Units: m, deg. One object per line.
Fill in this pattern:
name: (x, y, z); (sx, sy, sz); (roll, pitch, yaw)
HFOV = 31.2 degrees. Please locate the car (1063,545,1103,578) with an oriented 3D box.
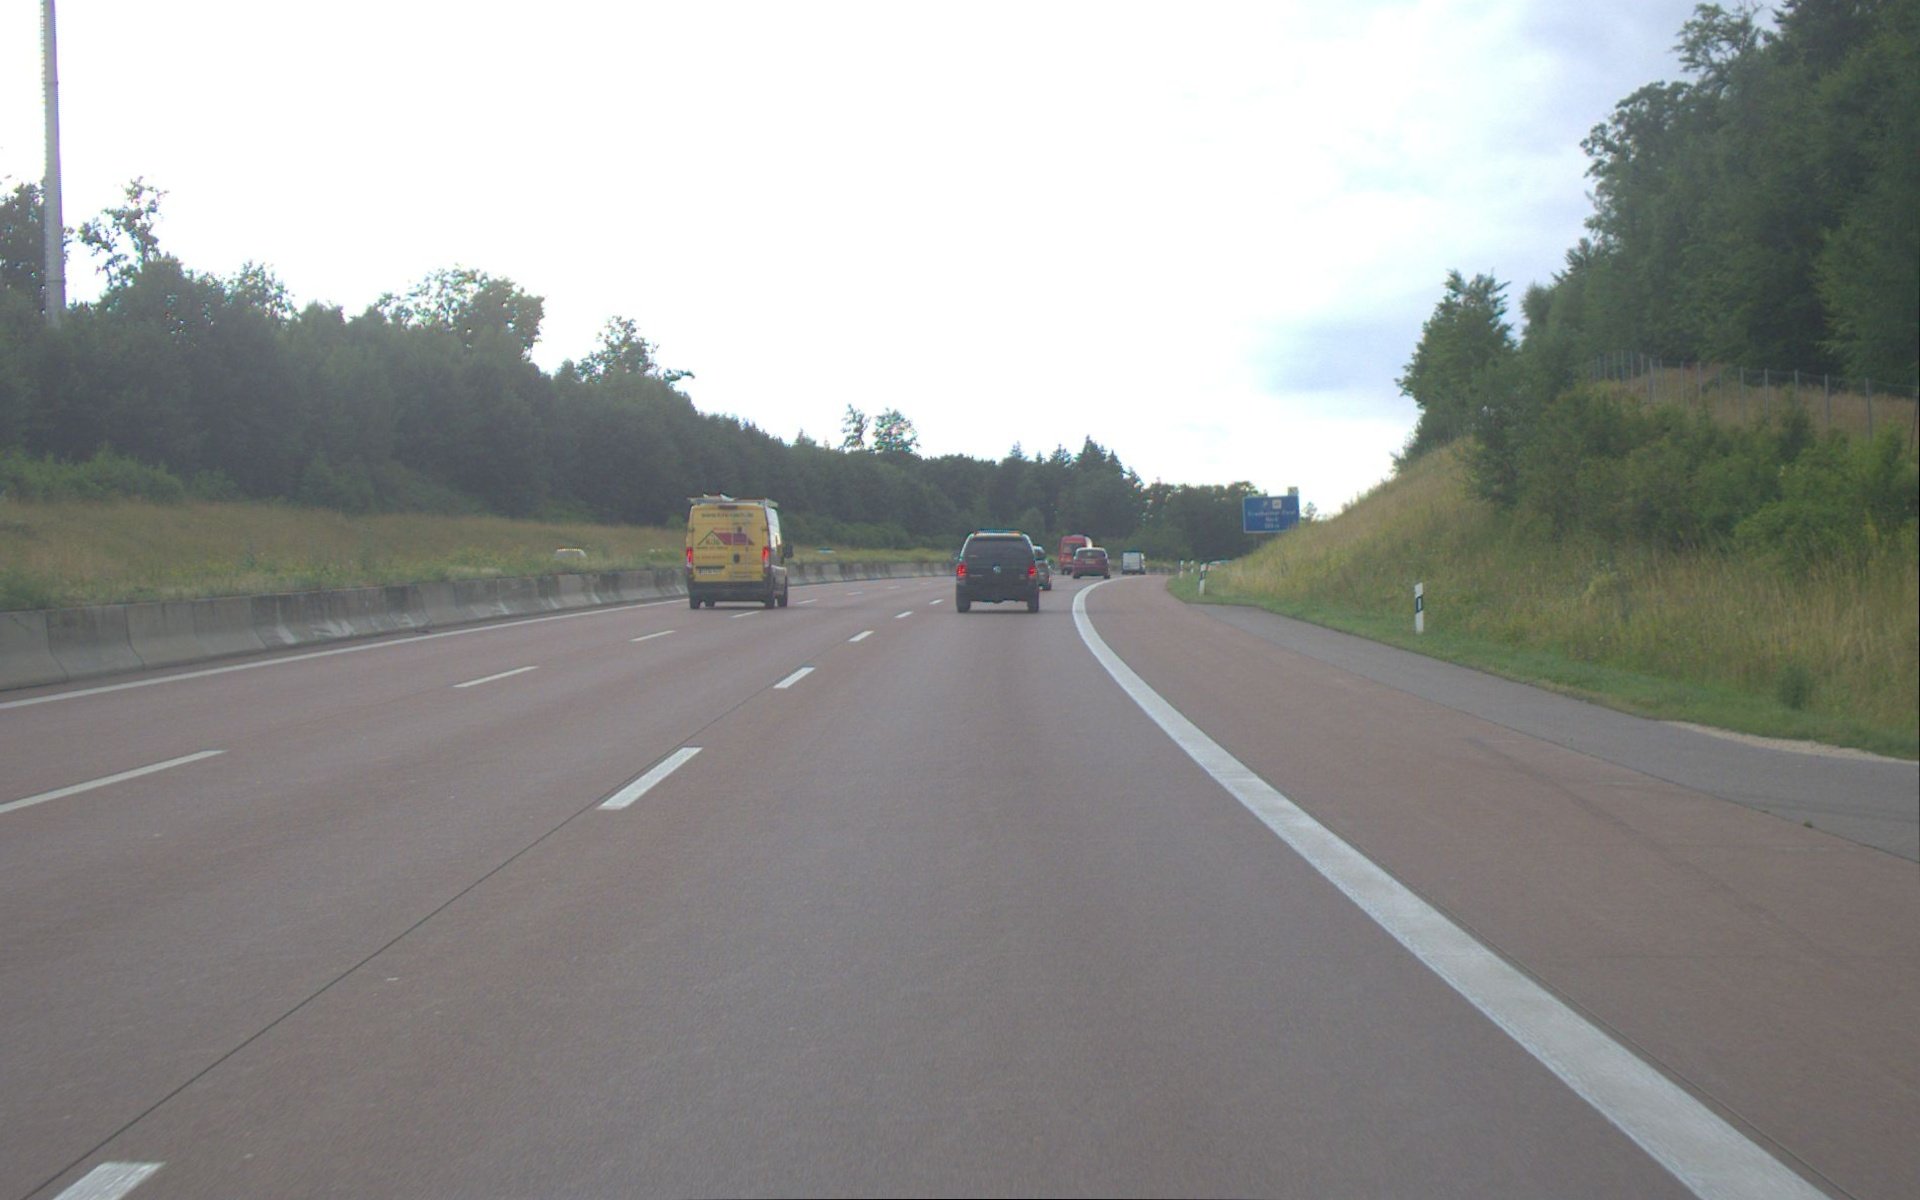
car: (6.443, -2.008, 181.008); (1.977, 1.642, 4.619); (-1, -1, 1)

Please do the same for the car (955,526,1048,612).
car: (0.940, -0.685, 79.772); (2.044, 1.890, 5.577); (-1, -1, 0)

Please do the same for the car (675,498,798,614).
car: (-5.415, -1.030, 83.993); (2.458, 2.697, 5.613); (-1, -1, 2)

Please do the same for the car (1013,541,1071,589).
car: (2.908, -1.207, 120.661); (1.978, 1.642, 4.619); (0, 0, 2)

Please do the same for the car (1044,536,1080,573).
car: (7.011, -3.138, 236.388); (2.241, 2.422, 6.204); (0, 0, 4)
